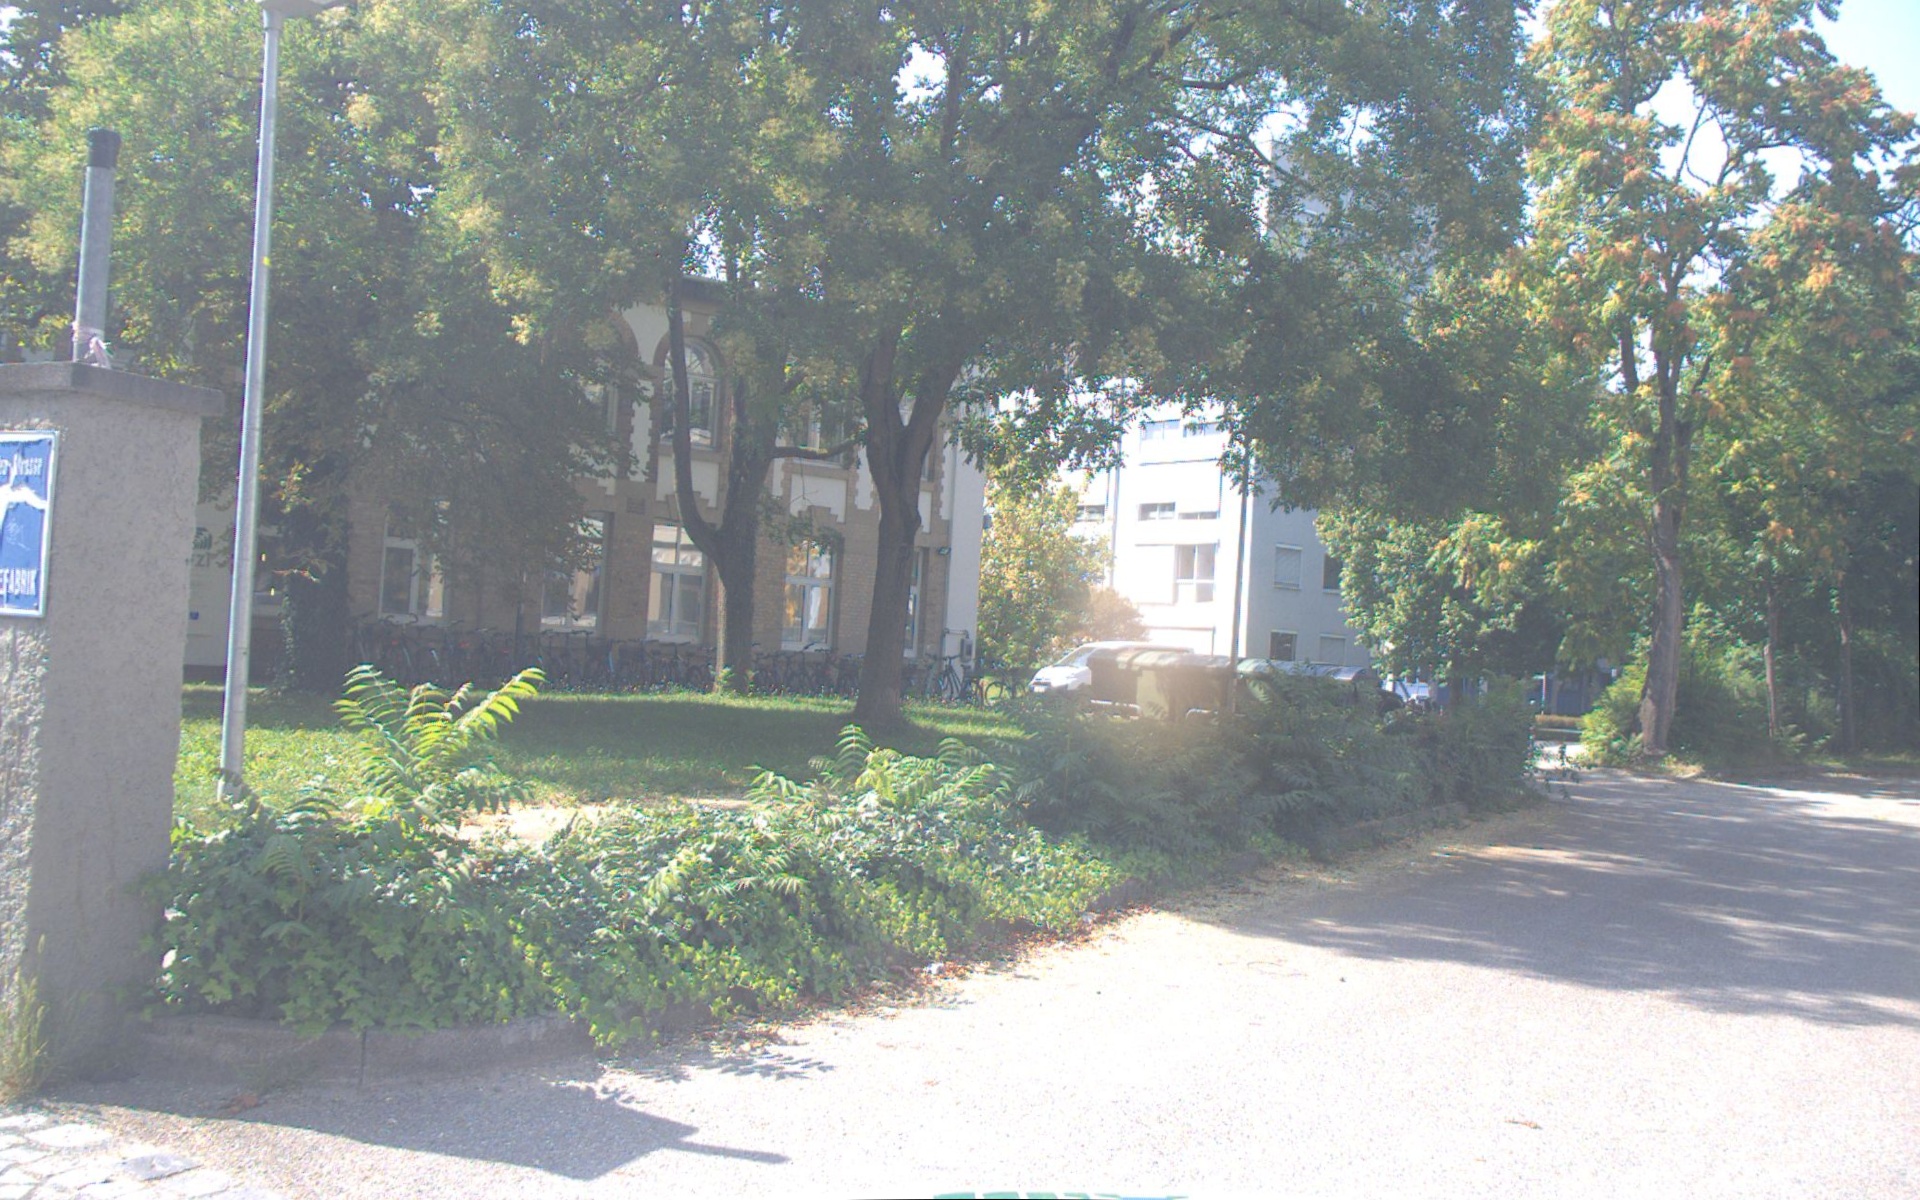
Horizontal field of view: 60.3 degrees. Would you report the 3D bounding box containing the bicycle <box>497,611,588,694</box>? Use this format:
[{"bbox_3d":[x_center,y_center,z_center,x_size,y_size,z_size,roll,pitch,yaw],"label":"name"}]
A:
[{"bbox_3d":[-7.199,0.883,28.411,0.761,1.325,2.500,5,-3,-30],"label":"bicycle"}]

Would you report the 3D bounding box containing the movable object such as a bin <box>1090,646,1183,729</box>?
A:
[{"bbox_3d":[3.441,1.702,32.254,1.238,1.469,1.189,6,-2,-40],"label":"movable object such as a bin"}]

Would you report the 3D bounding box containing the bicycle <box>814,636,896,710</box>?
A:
[{"bbox_3d":[-2.042,1.391,31.871,0.601,1.325,2.151,5,-3,-30],"label":"bicycle"}]

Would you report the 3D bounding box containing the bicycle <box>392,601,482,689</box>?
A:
[{"bbox_3d":[-8.566,0.720,27.016,0.761,1.325,2.500,5,-3,-30],"label":"bicycle"}]

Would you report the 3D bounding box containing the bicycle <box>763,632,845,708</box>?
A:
[{"bbox_3d":[-2.974,1.308,31.307,0.601,1.325,2.151,5,-3,-30],"label":"bicycle"}]

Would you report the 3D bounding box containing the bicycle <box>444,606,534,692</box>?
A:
[{"bbox_3d":[-7.882,0.796,27.604,0.761,1.325,2.500,5,-3,-30],"label":"bicycle"}]

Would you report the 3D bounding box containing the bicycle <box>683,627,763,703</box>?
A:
[{"bbox_3d":[-4.398,1.181,30.542,0.601,1.325,2.151,5,-3,-30],"label":"bicycle"}]

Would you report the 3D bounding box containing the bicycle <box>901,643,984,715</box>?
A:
[{"bbox_3d":[-0.361,1.563,33.139,0.601,1.325,2.151,5,-3,-30],"label":"bicycle"}]

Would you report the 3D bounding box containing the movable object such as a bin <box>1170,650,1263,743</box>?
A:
[{"bbox_3d":[4.541,1.703,29.291,1.091,1.507,1.086,6,-2,-40],"label":"movable object such as a bin"}]

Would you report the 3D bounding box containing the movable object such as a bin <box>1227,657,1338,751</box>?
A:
[{"bbox_3d":[5.549,1.784,28.461,1.238,1.456,1.312,6,-2,-41],"label":"movable object such as a bin"}]

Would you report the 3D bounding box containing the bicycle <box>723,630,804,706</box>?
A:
[{"bbox_3d":[-3.669,1.244,30.804,0.601,1.325,2.151,5,-3,-30],"label":"bicycle"}]

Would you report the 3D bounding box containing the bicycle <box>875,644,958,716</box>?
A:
[{"bbox_3d":[-0.875,1.563,32.680,0.601,1.325,2.151,5,-3,-30],"label":"bicycle"}]

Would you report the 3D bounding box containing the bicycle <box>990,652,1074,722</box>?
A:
[{"bbox_3d":[1.485,1.791,34.352,0.601,1.325,2.151,5,-3,-30],"label":"bicycle"}]

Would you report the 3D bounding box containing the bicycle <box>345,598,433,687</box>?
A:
[{"bbox_3d":[-9.151,0.666,26.453,0.761,1.325,2.500,5,-3,-30],"label":"bicycle"}]

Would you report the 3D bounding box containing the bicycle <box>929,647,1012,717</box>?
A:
[{"bbox_3d":[0.198,1.645,33.520,0.601,1.325,2.151,5,-3,-30],"label":"bicycle"}]

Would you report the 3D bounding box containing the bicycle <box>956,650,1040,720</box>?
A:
[{"bbox_3d":[0.762,1.719,33.886,0.601,1.325,2.151,5,-3,-30],"label":"bicycle"}]

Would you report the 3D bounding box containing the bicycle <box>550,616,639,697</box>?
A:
[{"bbox_3d":[-6.416,0.964,28.948,0.761,1.325,2.249,5,-3,-30],"label":"bicycle"}]

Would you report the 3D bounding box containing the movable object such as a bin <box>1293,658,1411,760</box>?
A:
[{"bbox_3d":[6.442,1.792,27.163,1.348,1.519,1.328,3,-2,41],"label":"movable object such as a bin"}]

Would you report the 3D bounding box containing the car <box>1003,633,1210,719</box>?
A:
[{"bbox_3d":[3.953,2.041,44.385,5.019,1.914,2.475,6,-3,-32],"label":"car"}]

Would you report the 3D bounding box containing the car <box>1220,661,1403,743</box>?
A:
[{"bbox_3d":[7.975,2.313,37.492,3.856,1.554,1.691,5,-3,-29],"label":"car"}]

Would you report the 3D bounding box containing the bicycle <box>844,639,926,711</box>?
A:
[{"bbox_3d":[-1.490,1.453,32.405,0.601,1.325,2.151,5,-3,-30],"label":"bicycle"}]

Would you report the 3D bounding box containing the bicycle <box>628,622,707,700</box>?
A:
[{"bbox_3d":[-5.285,1.084,29.814,0.601,1.325,2.151,5,-3,-30],"label":"bicycle"}]

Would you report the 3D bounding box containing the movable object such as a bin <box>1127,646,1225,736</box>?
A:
[{"bbox_3d":[3.991,1.681,30.559,1.238,1.521,1.189,6,-2,-40],"label":"movable object such as a bin"}]

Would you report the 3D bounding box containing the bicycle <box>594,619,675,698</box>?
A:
[{"bbox_3d":[-5.811,1.023,29.429,0.619,1.325,2.249,5,-3,-30],"label":"bicycle"}]
